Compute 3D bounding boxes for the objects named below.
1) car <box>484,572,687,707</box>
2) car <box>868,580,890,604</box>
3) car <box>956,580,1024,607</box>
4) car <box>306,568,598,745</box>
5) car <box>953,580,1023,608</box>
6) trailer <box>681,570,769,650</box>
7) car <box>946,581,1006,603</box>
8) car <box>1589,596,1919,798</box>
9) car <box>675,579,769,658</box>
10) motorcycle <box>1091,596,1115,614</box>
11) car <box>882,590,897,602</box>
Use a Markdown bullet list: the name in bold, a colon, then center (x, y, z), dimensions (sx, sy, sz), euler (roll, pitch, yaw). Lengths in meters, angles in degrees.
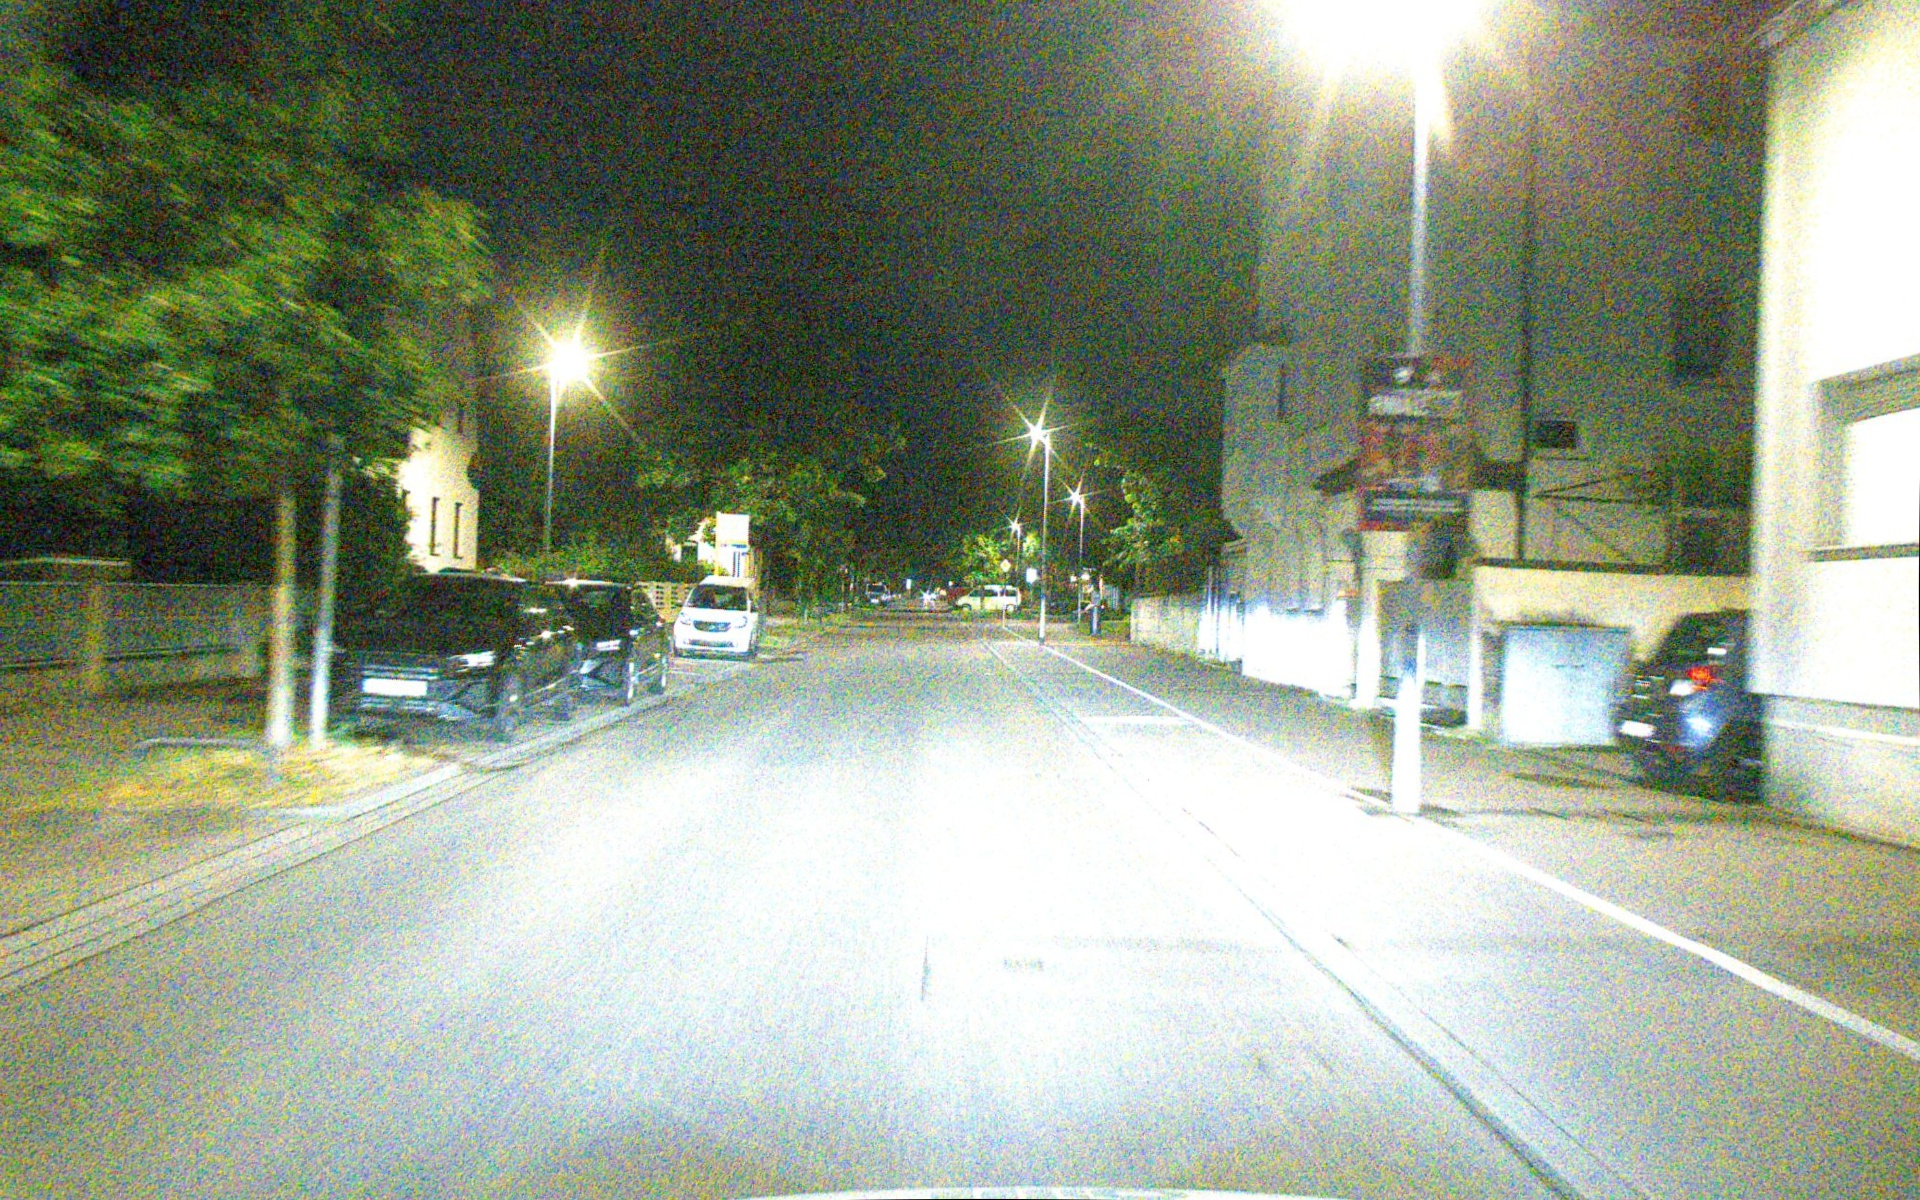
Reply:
- **car**: center (-4.828, 0.464, 21.905), dimensions (1.731, 1.545, 4.277), euler (3, 0, -1)
- **car**: center (-7.148, -0.715, 145.792), dimensions (1.788, 2.021, 4.463), euler (3, 0, -3)
- **car**: center (2.267, -0.496, 125.408), dimensions (5.078, 2.049, 2.101), euler (0, 0, -3)
- **car**: center (-4.980, 0.491, 16.836), dimensions (1.653, 1.537, 4.278), euler (1, 0, -1)
- **car**: center (2.064, -0.472, 122.338), dimensions (5.078, 2.049, 2.101), euler (0, 0, -3)
- **trailer**: center (-5.518, 0.225, 39.154), dimensions (1.418, 1.717, 3.426), euler (4, 0, 1)
- **car**: center (1.453, -0.704, 147.096), dimensions (5.072, 1.920, 2.103), euler (0, 0, 8)
- **car**: center (7.322, 0.773, 13.608), dimensions (3.634, 1.499, 1.731), euler (2, 0, 2)
- **car**: center (-5.129, 0.378, 35.919), dimensions (1.638, 1.548, 2.977), euler (4, 0, -3)
- **motorcycle**: center (11.131, 0.413, 128.531), dimensions (1.048, 1.350, 2.706), euler (2, 1, 22)
- **car**: center (-8.298, -0.445, 194.805), dimensions (1.649, 1.354, 3.598), euler (1, 0, -3)
